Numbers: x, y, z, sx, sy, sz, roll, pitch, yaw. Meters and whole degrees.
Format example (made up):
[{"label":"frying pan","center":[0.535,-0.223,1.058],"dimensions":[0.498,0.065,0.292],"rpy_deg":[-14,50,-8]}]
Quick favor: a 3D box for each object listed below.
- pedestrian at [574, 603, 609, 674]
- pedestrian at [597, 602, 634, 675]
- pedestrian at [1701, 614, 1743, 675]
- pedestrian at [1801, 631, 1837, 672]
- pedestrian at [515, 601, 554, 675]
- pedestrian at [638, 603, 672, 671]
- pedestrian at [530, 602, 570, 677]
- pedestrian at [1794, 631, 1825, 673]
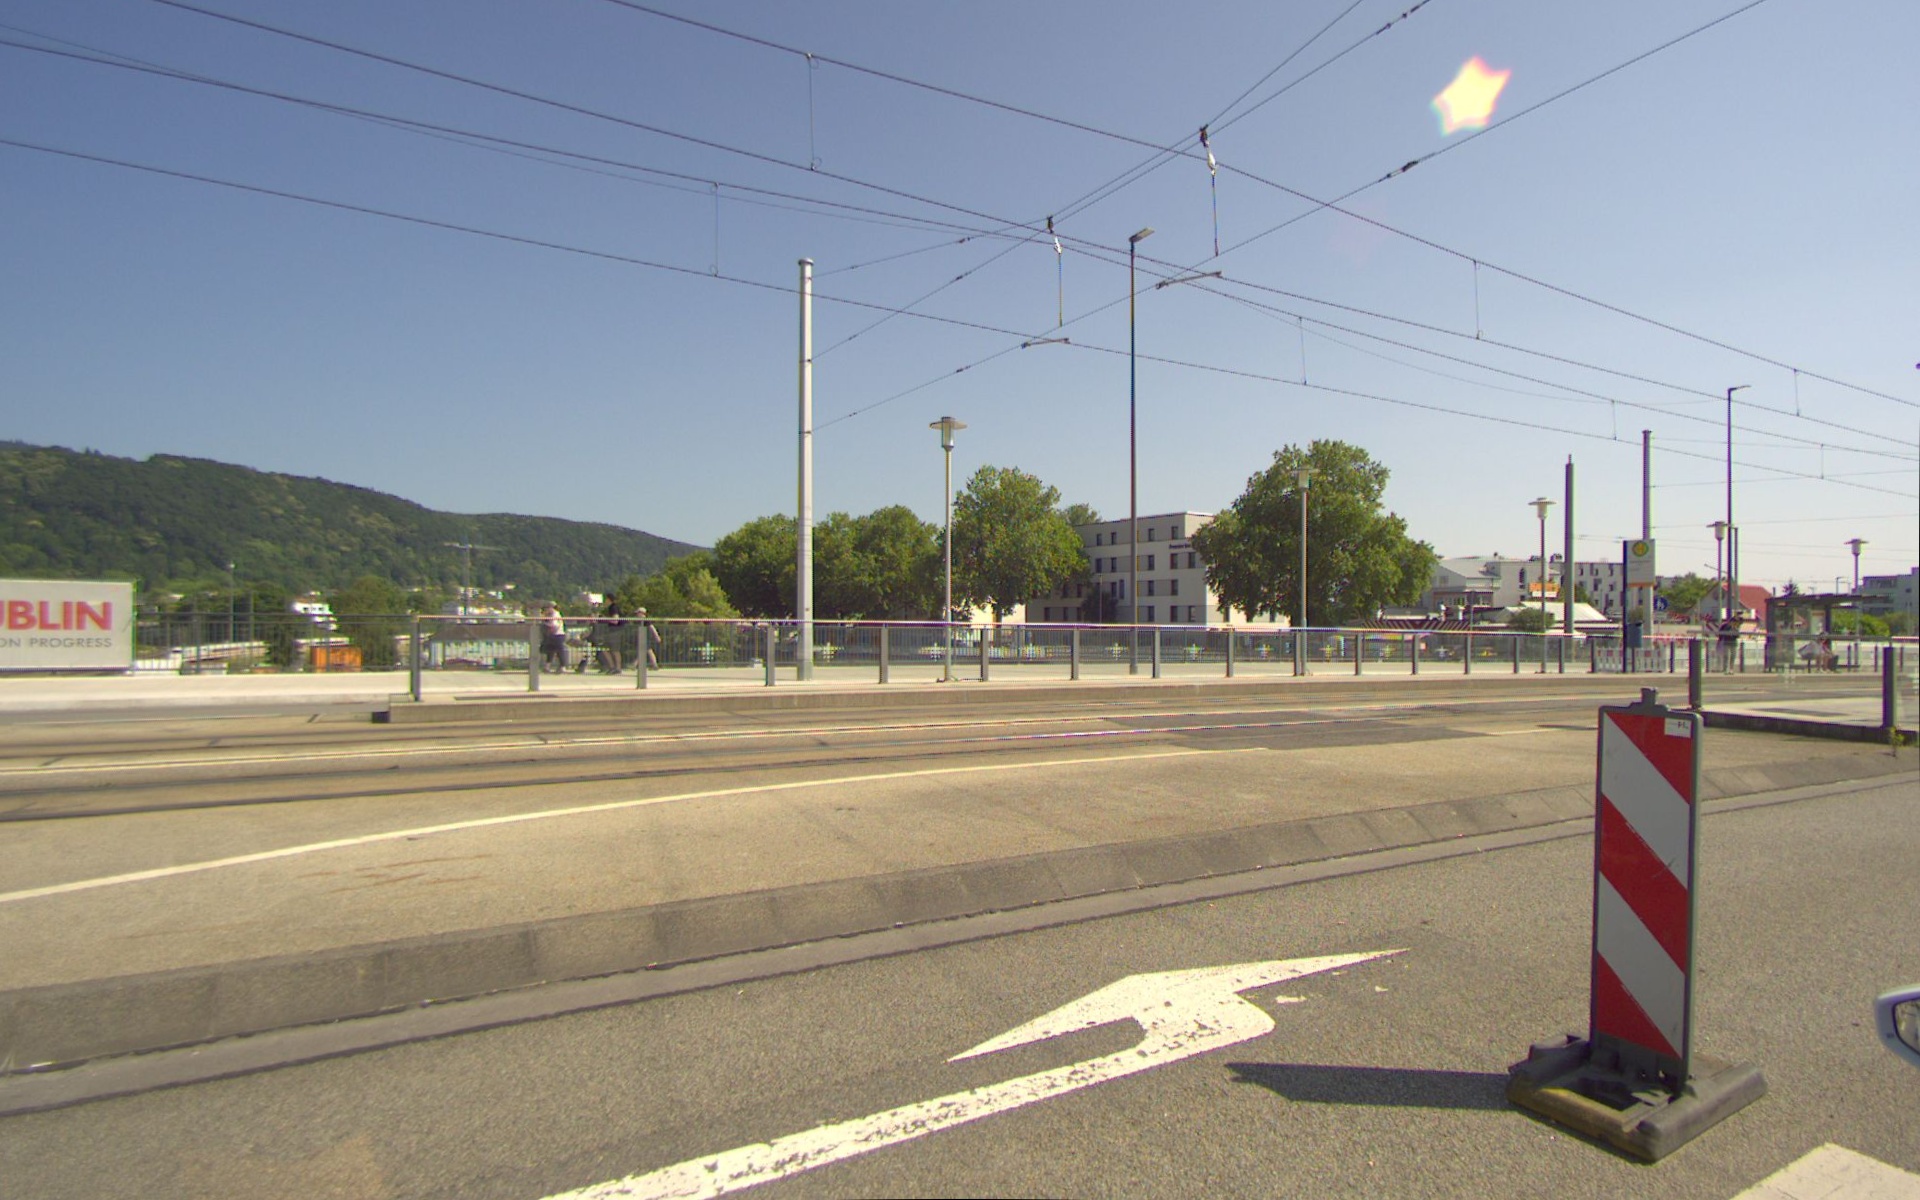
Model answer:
[{"label":"pedestrian","center":[-8.933,0.924,24.357],"dimensions":[0.761,1.709,0.382],"rpy_deg":[1,-1,-29]},{"label":"pedestrian","center":[-8.219,0.915,23.952],"dimensions":[0.722,1.709,0.750],"rpy_deg":[0,-1,-28]},{"label":"pedestrian","center":[21.473,1.247,28.313],"dimensions":[0.727,1.676,0.660],"rpy_deg":[1,-1,-18]},{"label":"pedestrian","center":[27.802,1.671,32.512],"dimensions":[0.688,1.291,0.646],"rpy_deg":[1,-1,-25]},{"label":"pedestrian","center":[-10.050,0.894,23.727],"dimensions":[0.807,1.709,0.595],"rpy_deg":[1,-1,-29]},{"label":"pedestrian","center":[-7.813,0.946,25.719],"dimensions":[0.763,1.709,0.502],"rpy_deg":[1,-1,-29]},{"label":"pedestrian","center":[-9.542,0.919,23.365],"dimensions":[0.798,1.709,0.484],"rpy_deg":[1,-1,-29]},{"label":"pedestrian","center":[27.276,1.664,32.264],"dimensions":[0.447,1.291,0.646],"rpy_deg":[1,-1,-25]}]
